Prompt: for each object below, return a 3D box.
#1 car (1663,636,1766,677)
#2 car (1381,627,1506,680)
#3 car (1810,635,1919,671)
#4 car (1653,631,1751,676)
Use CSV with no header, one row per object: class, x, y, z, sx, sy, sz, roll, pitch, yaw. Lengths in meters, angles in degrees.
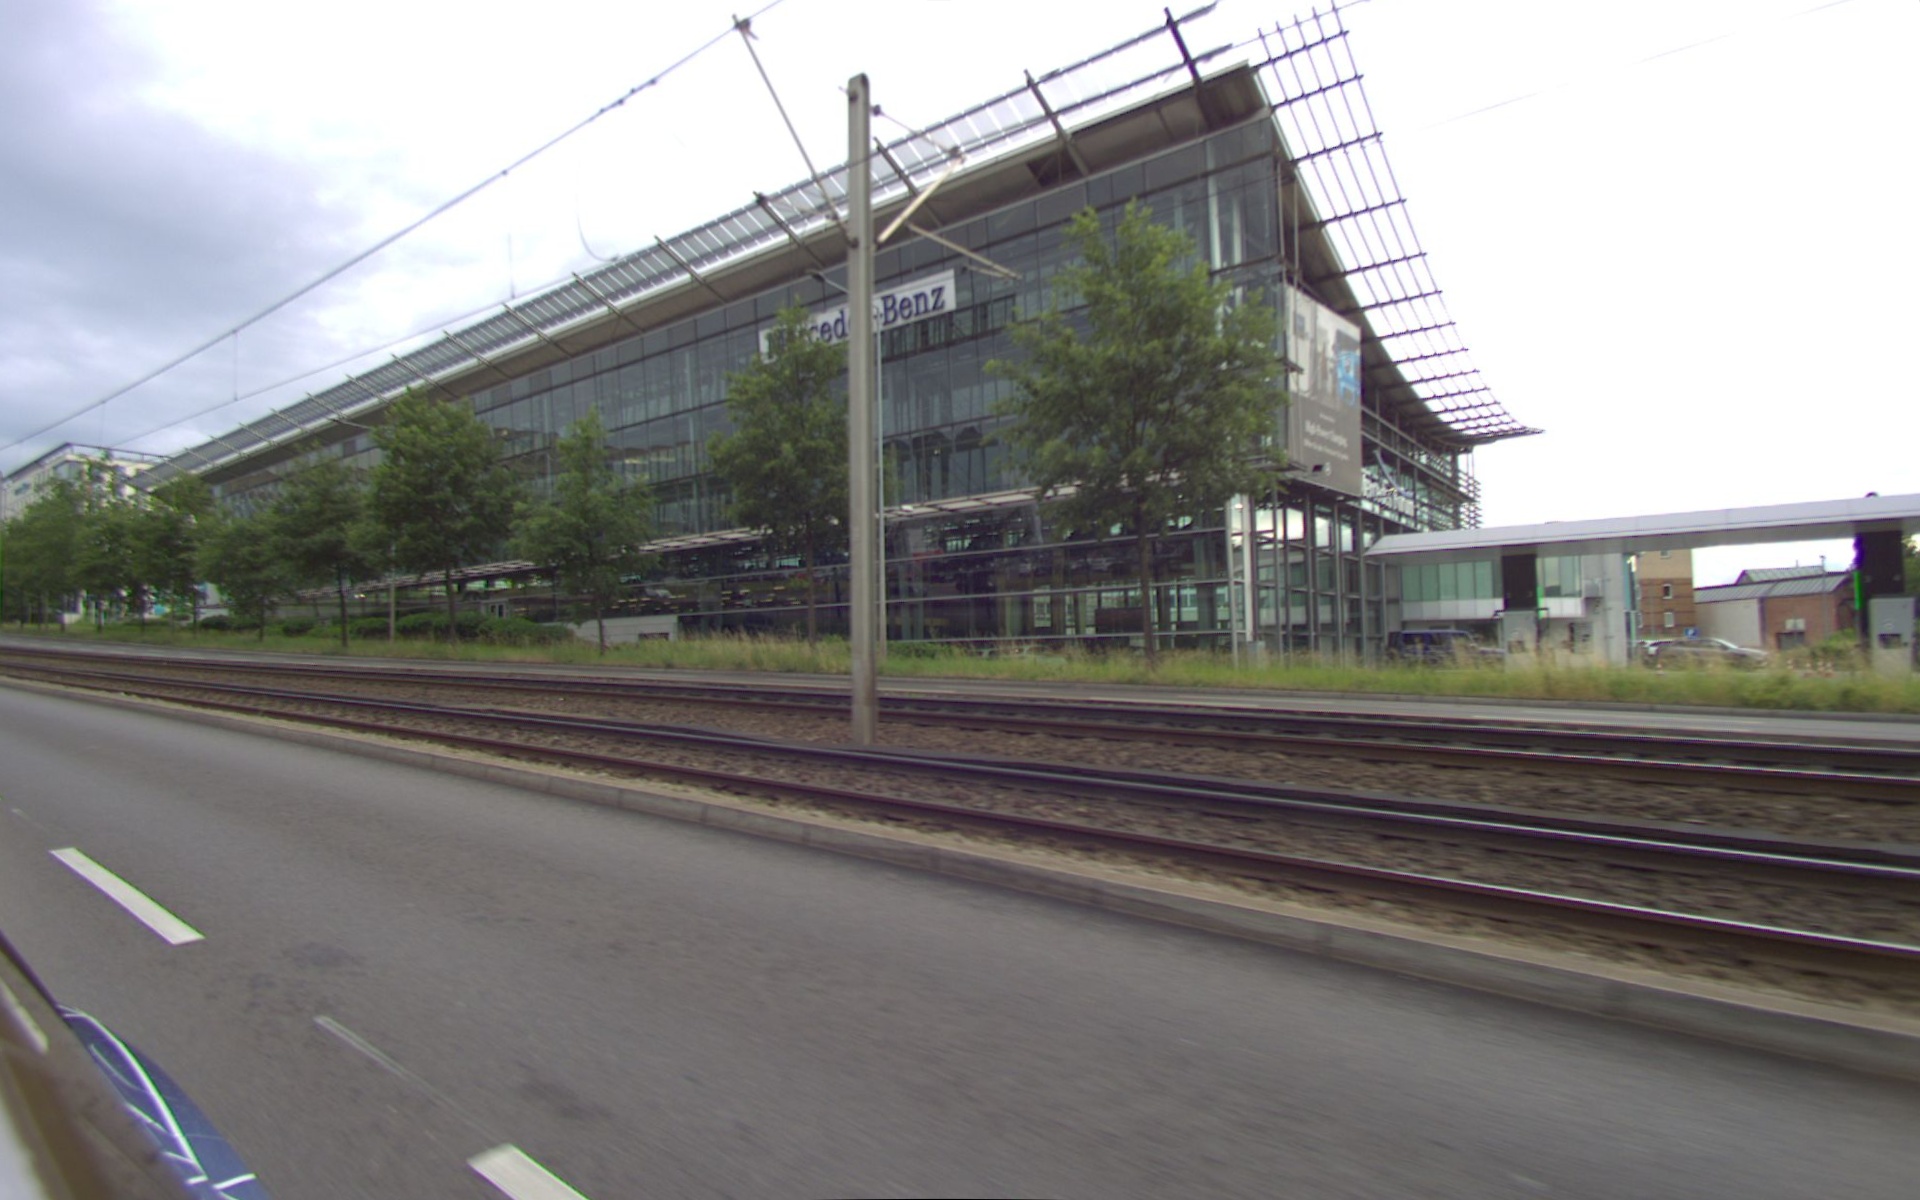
car,36.554,2.703,49.073,1.755,1.723,3.754,0,0,-41
car,18.563,2.021,38.993,3.956,1.864,1.889,0,0,11
car,48.670,2.842,54.498,3.955,1.741,1.994,0,0,10
car,37.990,2.692,51.848,1.878,2.029,3.751,0,0,-41
